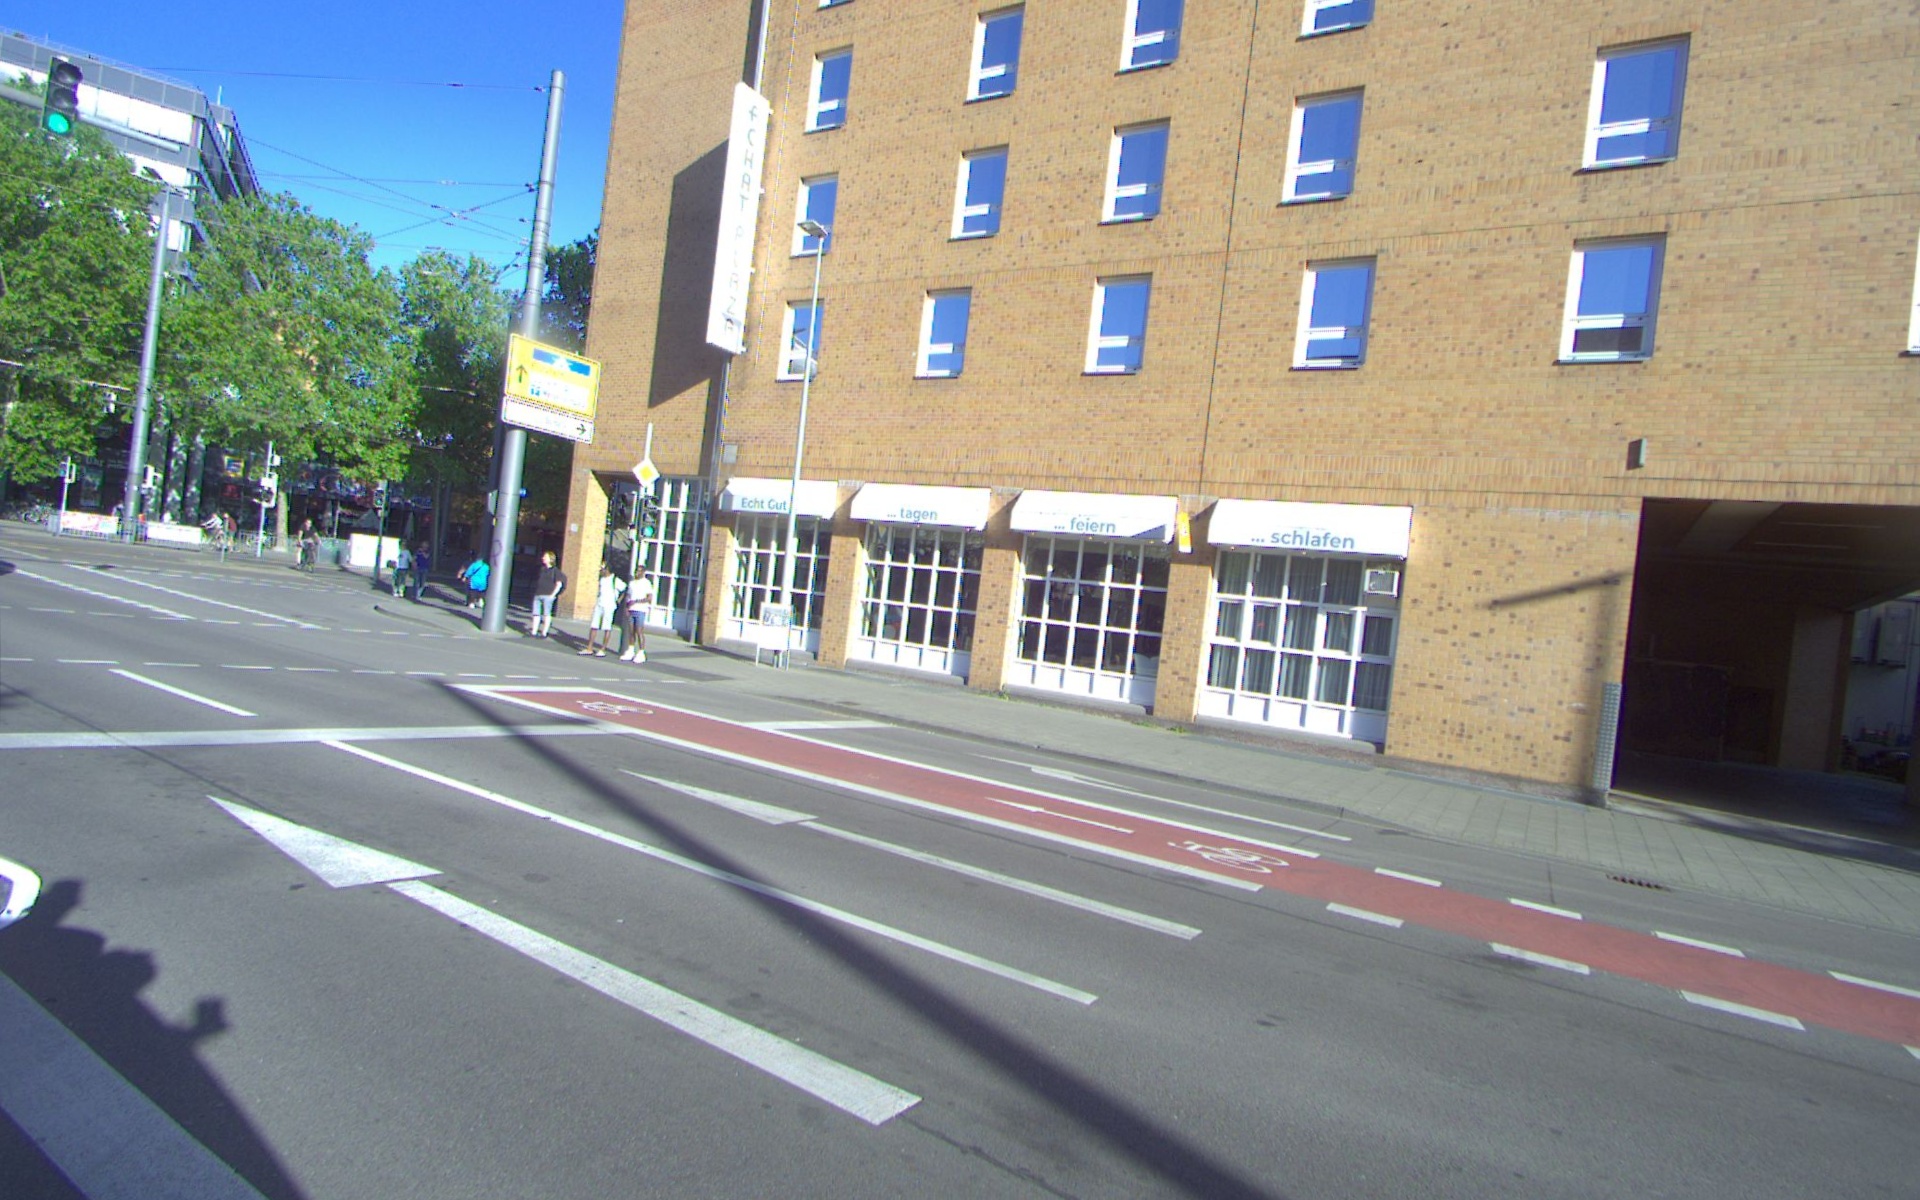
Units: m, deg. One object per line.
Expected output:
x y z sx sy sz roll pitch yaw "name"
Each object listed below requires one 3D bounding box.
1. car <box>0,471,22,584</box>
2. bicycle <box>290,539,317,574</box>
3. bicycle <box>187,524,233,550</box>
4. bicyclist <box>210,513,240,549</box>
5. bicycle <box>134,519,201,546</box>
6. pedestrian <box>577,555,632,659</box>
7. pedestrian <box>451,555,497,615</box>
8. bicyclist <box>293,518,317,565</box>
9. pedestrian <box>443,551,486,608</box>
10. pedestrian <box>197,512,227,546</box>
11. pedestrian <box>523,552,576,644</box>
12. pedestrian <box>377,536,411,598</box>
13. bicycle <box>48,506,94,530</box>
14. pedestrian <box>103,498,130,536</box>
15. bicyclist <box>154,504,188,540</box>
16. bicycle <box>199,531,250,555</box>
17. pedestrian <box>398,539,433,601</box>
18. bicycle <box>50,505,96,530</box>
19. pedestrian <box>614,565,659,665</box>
-18.449 -1.506 17.481 4.158 1.895 2.056 6 -2 33 "car"
-22.356 -1.494 34.263 0.597 1.065 1.861 1 5 -38 "bicycle"
-39.740 -3.313 53.330 0.777 1.064 1.925 7 -2 3 "bicycle"
-36.232 -3.412 49.587 0.627 1.635 0.926 7 0 35 "bicyclist"
-47.816 -4.057 60.750 0.821 1.126 3.045 7 -1 32 "bicycle"
-6.700 0.130 18.956 0.719 1.857 0.497 5 2 -3 "pedestrian"
-13.770 -0.421 28.509 0.729 1.557 0.677 7 -1 24 "pedestrian"
-22.324 -1.995 34.289 0.575 1.536 0.840 2 5 -39 "bicyclist"
-14.411 -0.592 29.257 0.729 1.557 0.652 7 -1 24 "pedestrian"
-39.684 -3.765 53.366 0.758 1.612 0.839 7 -1 3 "pedestrian"
-8.480 -0.035 20.789 0.683 1.789 0.573 8 0 -9 "pedestrian"
-16.622 -0.957 29.568 0.555 1.723 0.656 7 -1 -19 "pedestrian"
-46.017 -4.245 52.088 1.700 0.998 0.386 7 0 -45 "bicycle"
-45.154 -4.444 53.824 0.845 1.873 0.799 10 -2 -44 "pedestrian"
-47.707 -4.706 60.819 0.821 1.955 1.228 7 0 32 "bicyclist"
-36.275 -2.813 49.641 0.642 0.921 1.854 7 -1 36 "bicycle"
-16.166 -0.871 29.877 0.595 1.747 0.600 7 -1 -17 "pedestrian"
-45.398 -4.218 51.506 1.700 0.998 0.386 7 0 -45 "bicycle"
-6.029 0.269 18.760 0.568 1.797 0.405 5 2 -3 "pedestrian"
